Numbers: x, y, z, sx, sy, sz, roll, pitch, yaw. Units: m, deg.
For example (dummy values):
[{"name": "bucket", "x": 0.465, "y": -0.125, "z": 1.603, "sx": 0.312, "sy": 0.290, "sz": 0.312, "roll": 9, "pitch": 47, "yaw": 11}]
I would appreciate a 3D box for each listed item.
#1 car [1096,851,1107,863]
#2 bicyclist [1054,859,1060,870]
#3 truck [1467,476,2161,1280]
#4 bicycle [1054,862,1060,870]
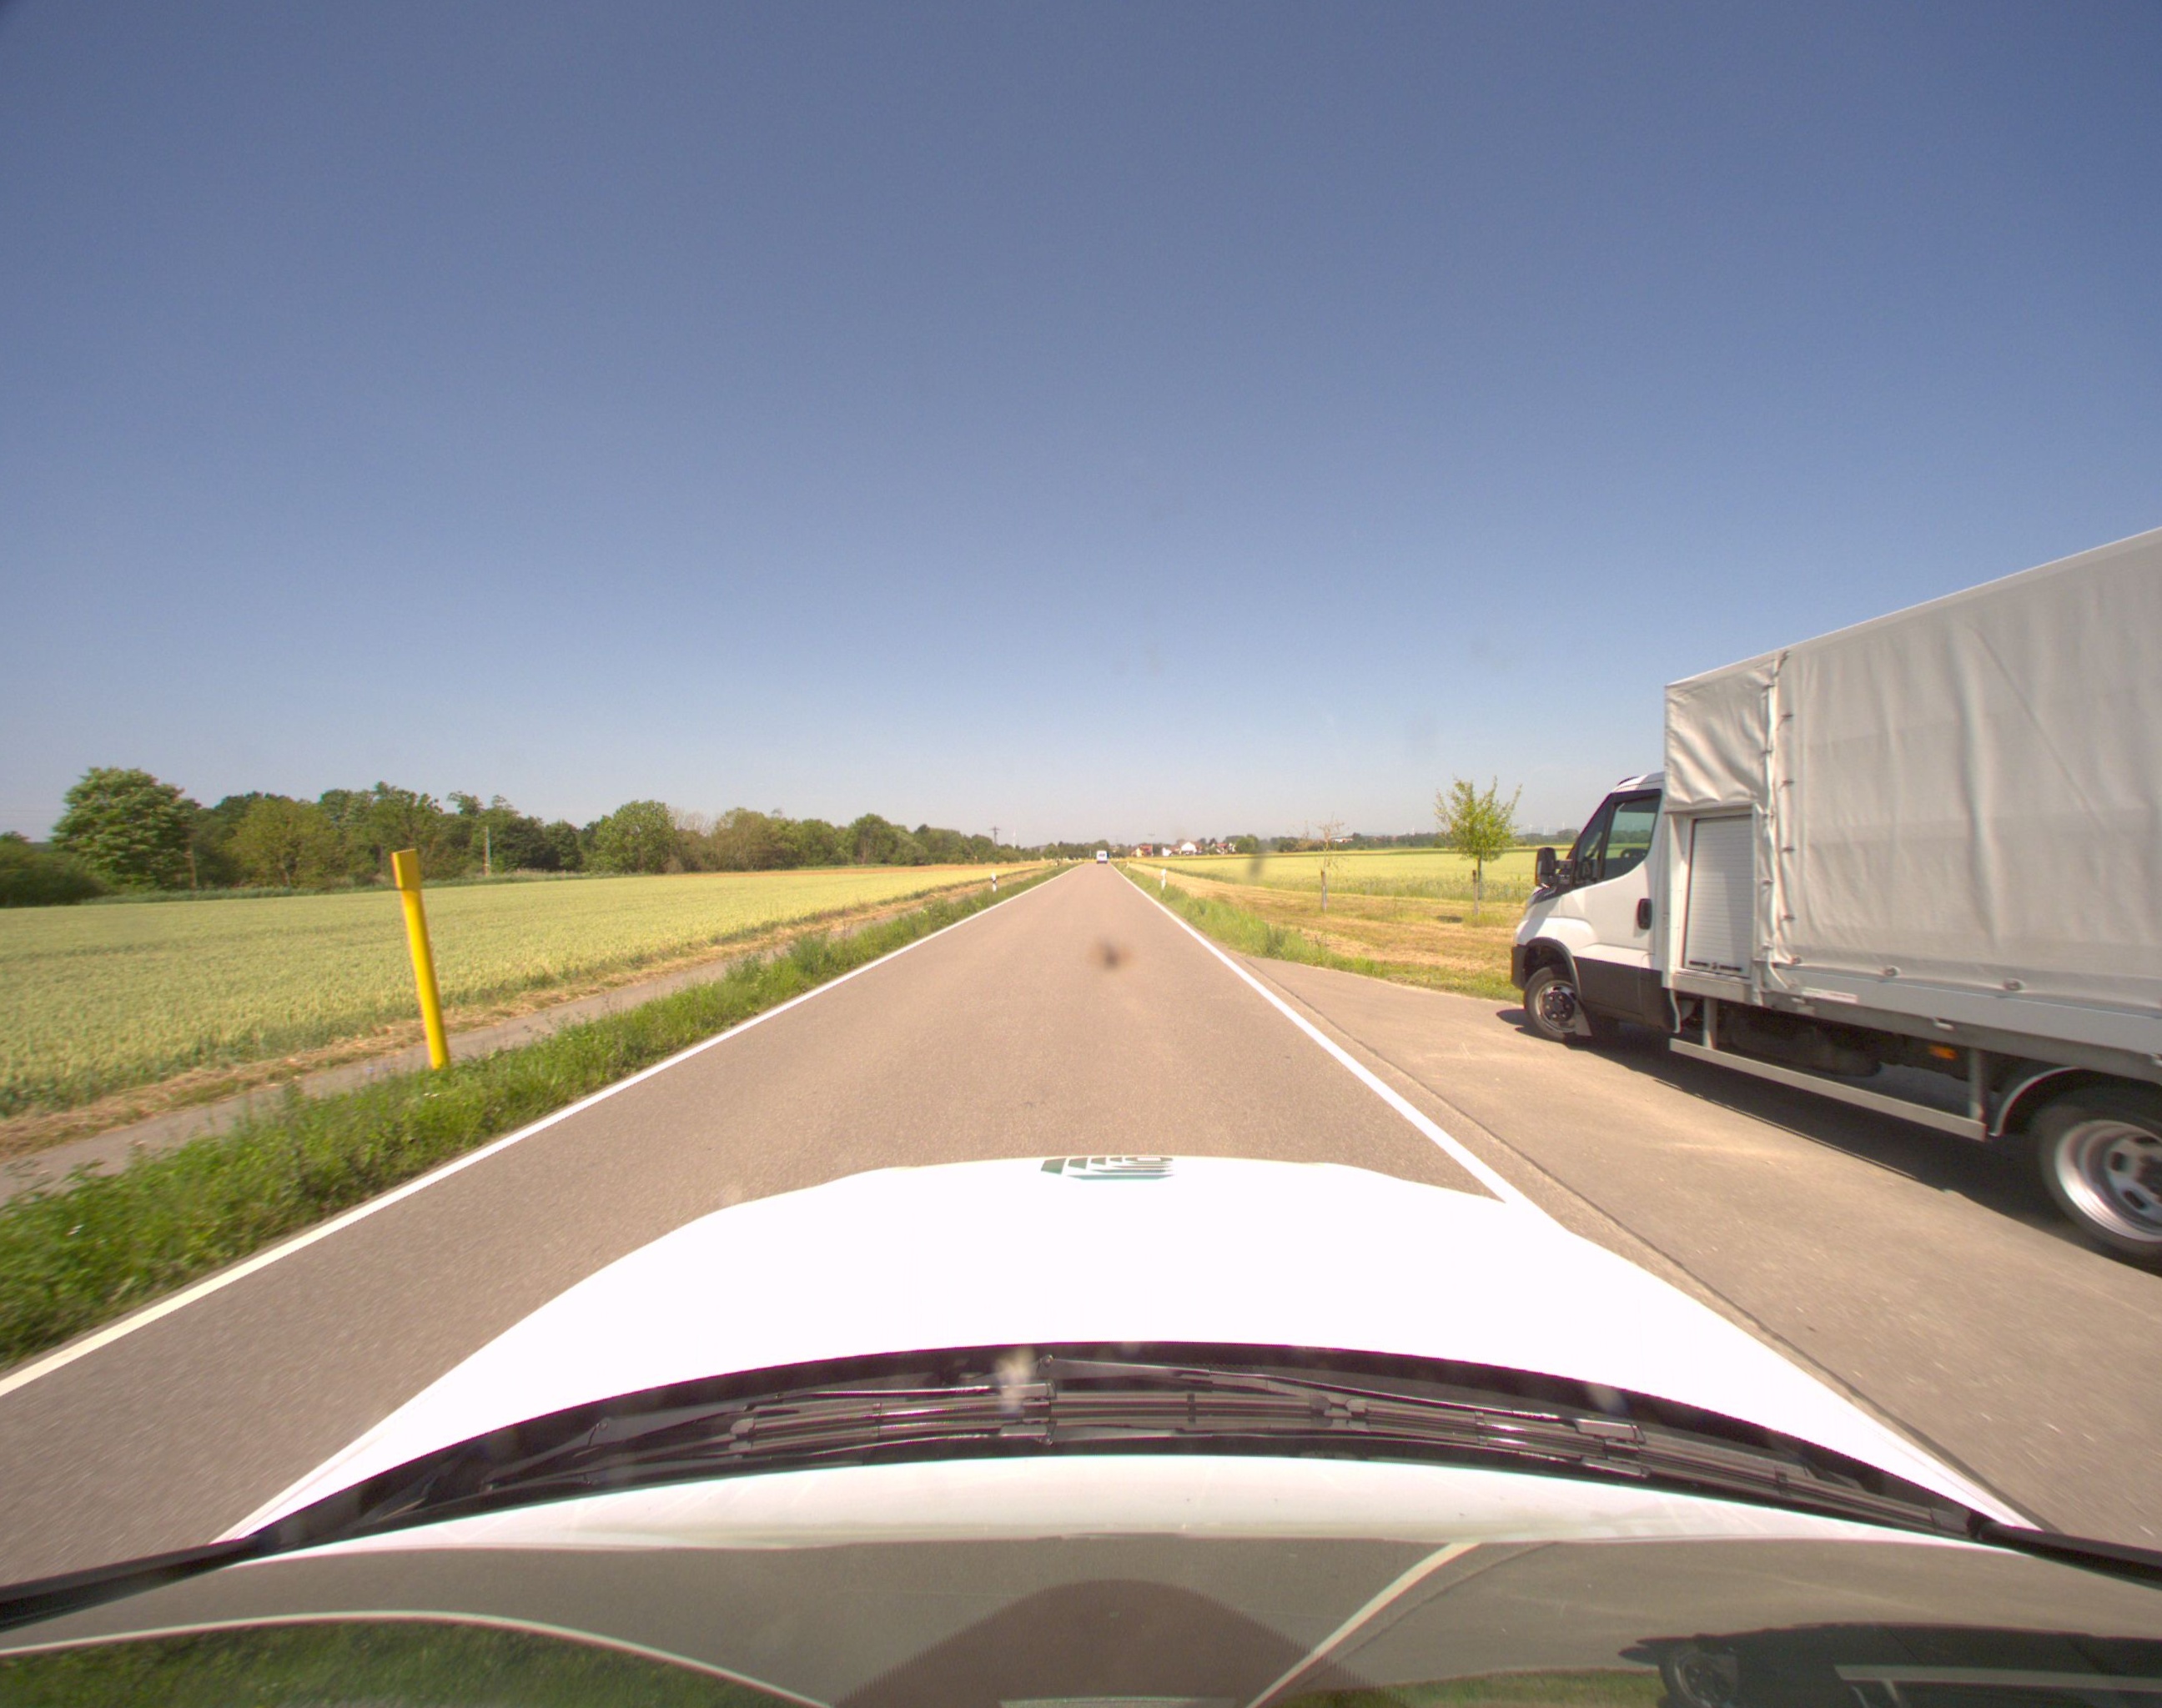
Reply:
[{"name": "car", "x": 4.091, "y": 0.602, "z": 159.937, "sx": 2.100, "sy": 2.304, "sz": 5.496, "roll": 0, "pitch": 0, "yaw": 1}, {"name": "bicyclist", "x": -4.004, "y": 1.769, "z": 136.838, "sx": 0.757, "sy": 1.672, "sz": 1.089, "roll": -3, "pitch": -1, "yaw": 1}, {"name": "truck", "x": 5.103, "y": 0.116, "z": 4.696, "sx": 2.328, "sy": 2.942, "sz": 7.006, "roll": 2, "pitch": 0, "yaw": -1}, {"name": "bicycle", "x": -4.005, "y": 1.988, "z": 136.845, "sx": 0.756, "sy": 1.236, "sz": 2.394, "roll": -3, "pitch": 0, "yaw": 1}]
